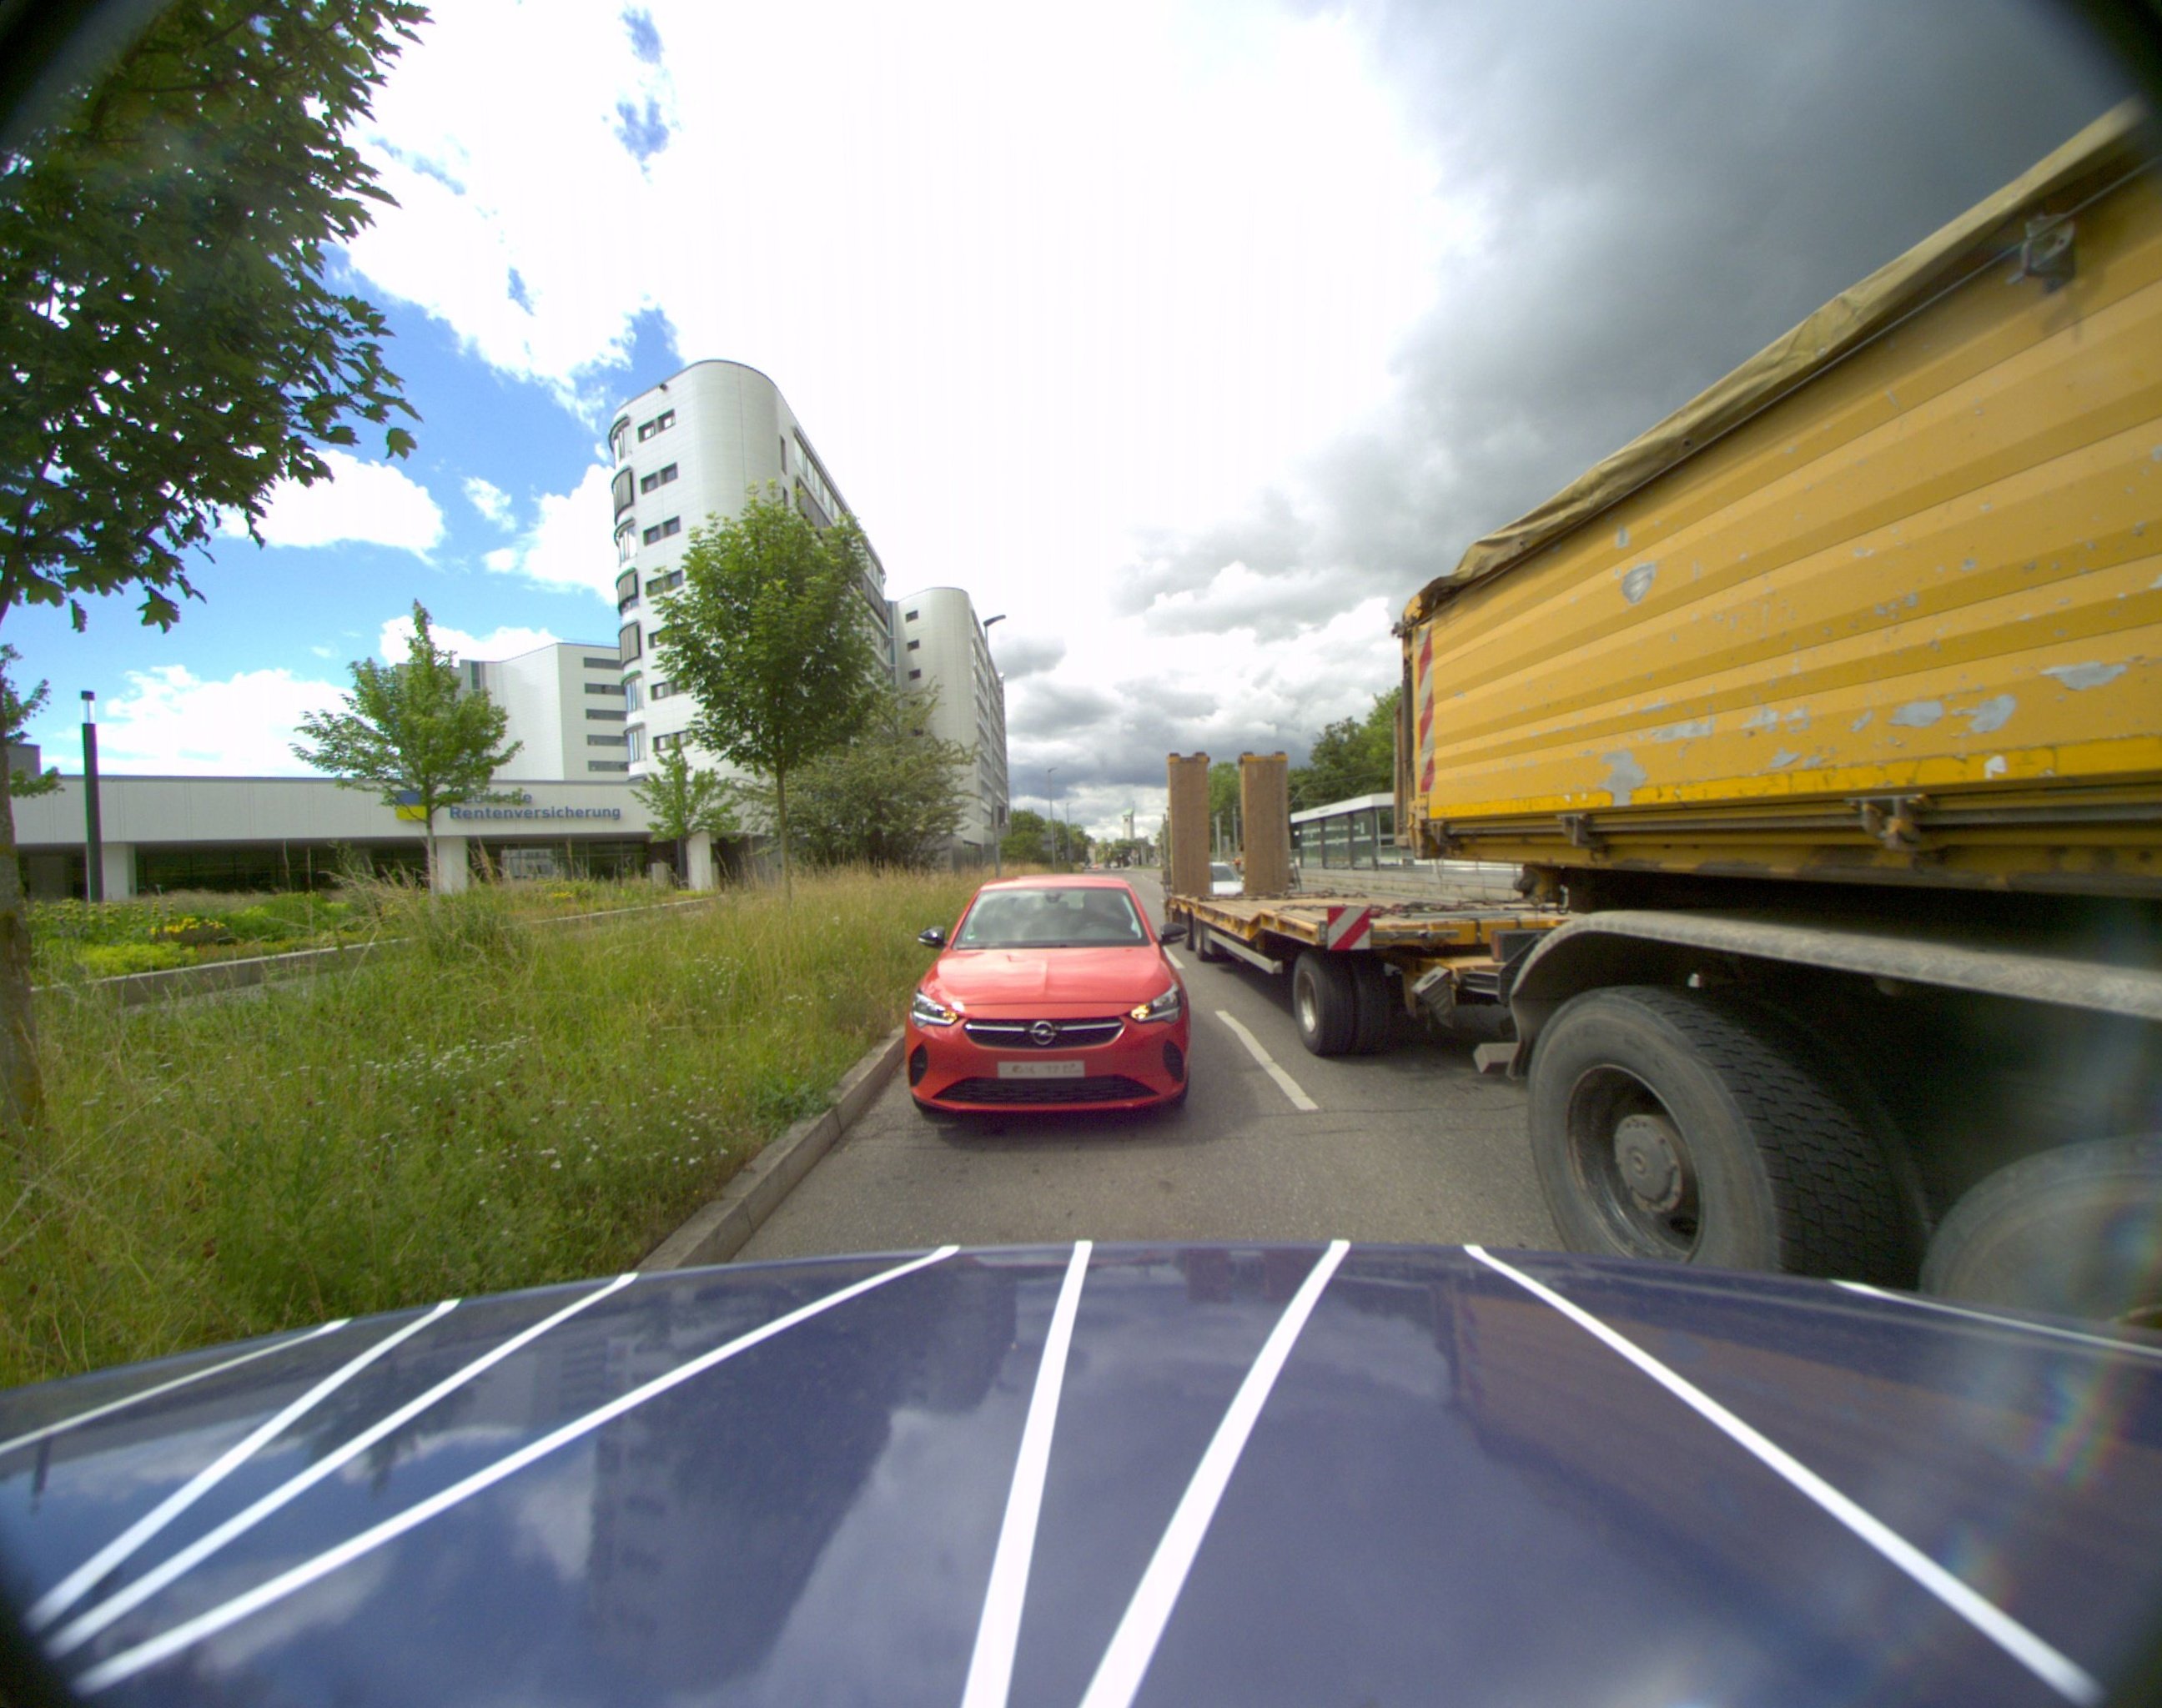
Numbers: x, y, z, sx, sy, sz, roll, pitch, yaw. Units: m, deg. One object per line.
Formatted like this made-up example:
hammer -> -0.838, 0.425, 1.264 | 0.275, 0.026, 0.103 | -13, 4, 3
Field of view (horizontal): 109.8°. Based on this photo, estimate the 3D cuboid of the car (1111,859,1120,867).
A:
car -> 8.781, 2.239, 195.044 | 1.998, 1.805, 4.000 | -2, 0, 1

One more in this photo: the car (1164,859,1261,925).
car -> 3.163, 0.875, 19.018 | 1.784, 1.408, 3.785 | -2, 0, 1

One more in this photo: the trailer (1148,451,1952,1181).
trailer -> 2.929, -0.172, 9.421 | 3.057, 3.676, 10.965 | -2, 0, 0

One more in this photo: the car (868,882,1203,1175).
car -> -0.210, 0.991, 5.850 | 1.749, 1.408, 3.676 | -1, 0, 1
